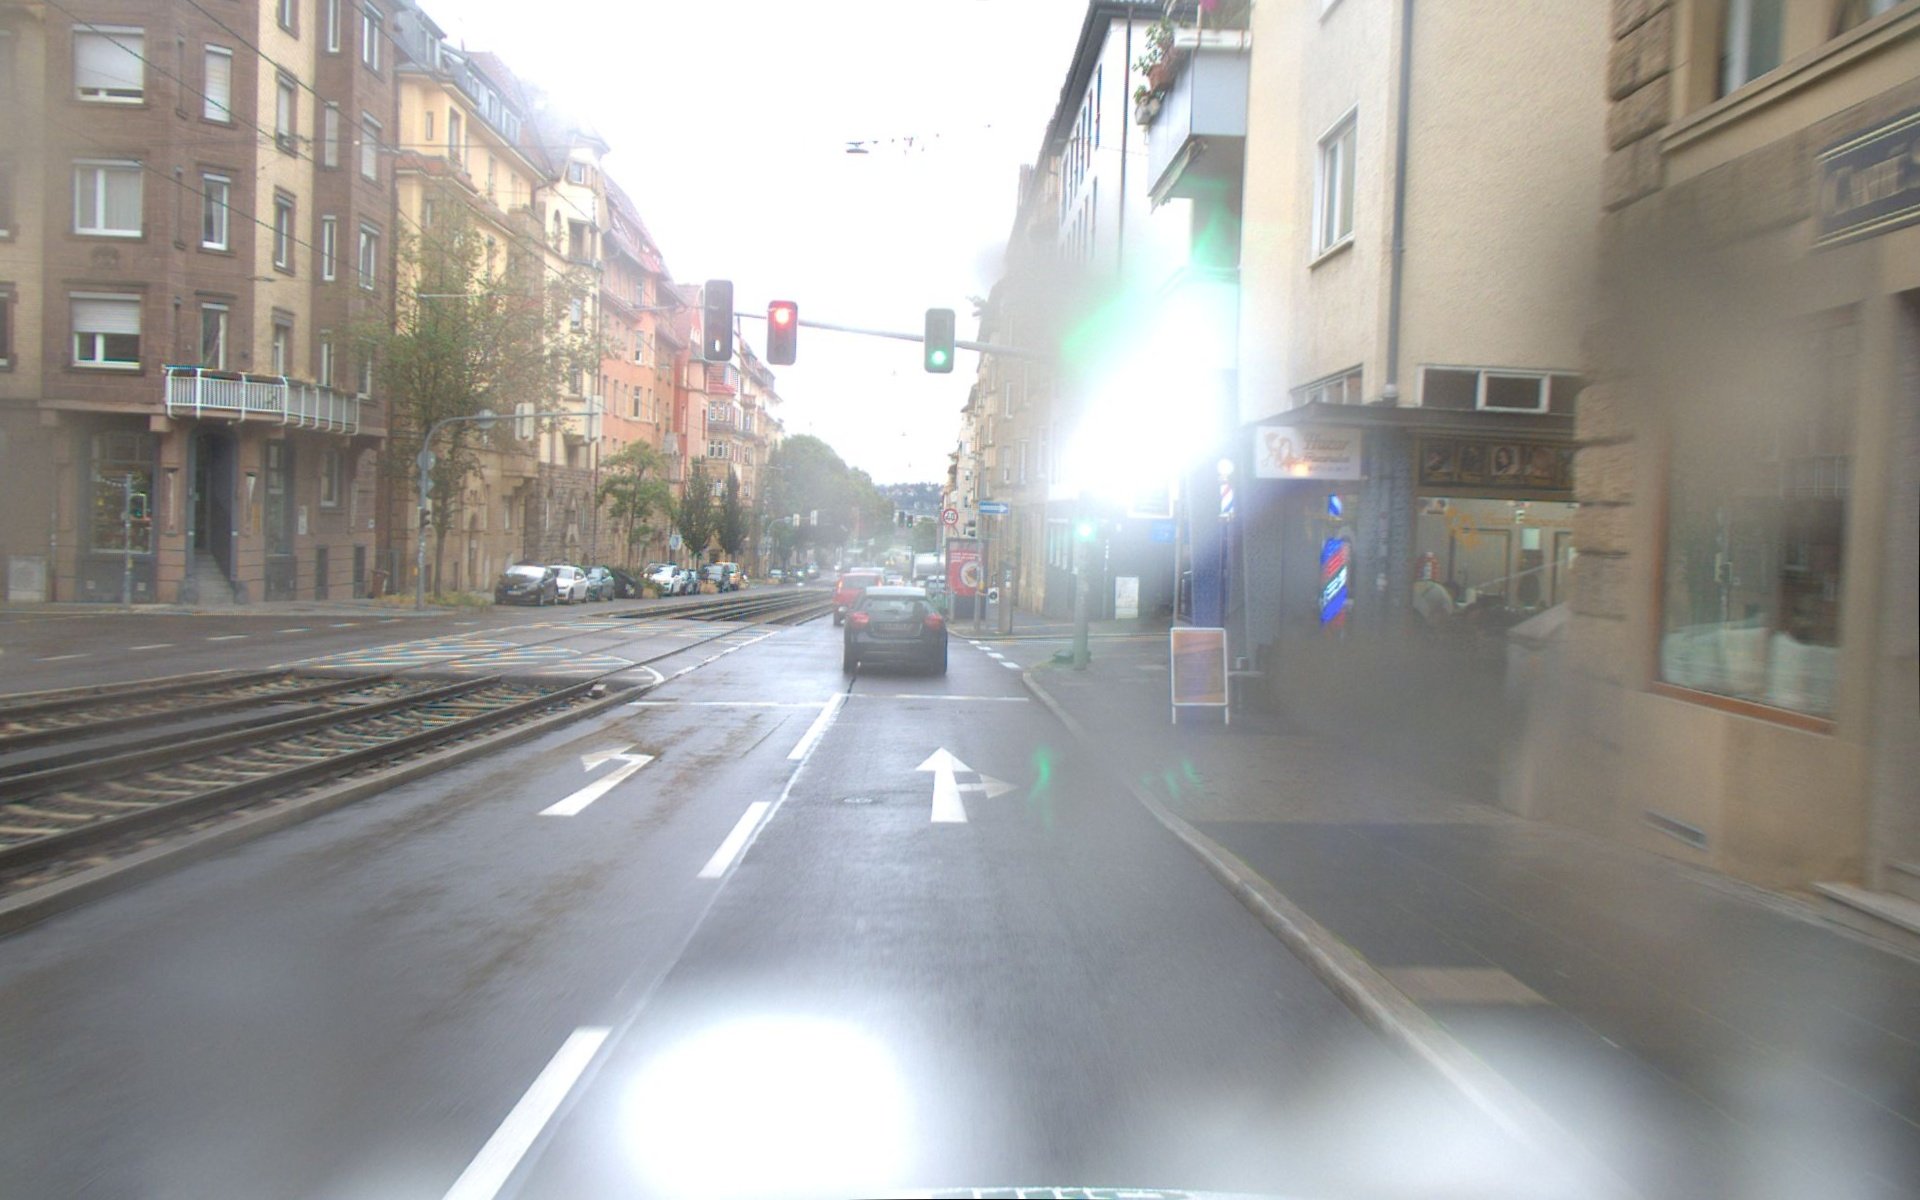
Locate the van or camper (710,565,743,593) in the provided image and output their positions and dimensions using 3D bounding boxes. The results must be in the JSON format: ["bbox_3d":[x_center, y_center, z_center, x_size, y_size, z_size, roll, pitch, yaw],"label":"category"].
[{"bbox_3d":[-16.977,-1.531,120.479,1.954,1.934,4.696,1,0,-3],"label":"van or camper"}]

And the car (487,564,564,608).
[{"bbox_3d":[-15.681,-0.506,59.924,1.729,1.512,4.000,1,0,-1],"label":"car"}]

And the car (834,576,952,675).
[{"bbox_3d":[-1.156,0.406,28.824,1.907,1.592,3.641,1,0,-2],"label":"car"}]

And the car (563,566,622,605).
[{"bbox_3d":[-15.700,-0.639,70.821,1.529,1.462,4.147,0,3,1],"label":"car"}]

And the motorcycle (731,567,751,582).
[{"bbox_3d":[-17.299,-2.007,130.558,1.409,1.154,0.619,2,1,29],"label":"motorcycle"}]

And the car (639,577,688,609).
[{"bbox_3d":[-16.081,-0.386,89.845,1.748,1.617,4.352,1,0,1],"label":"car"}]

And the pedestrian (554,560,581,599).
[{"bbox_3d":[-18.377,-0.968,77.400,0.986,1.784,0.924,2,1,0],"label":"pedestrian"}]

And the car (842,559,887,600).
[{"bbox_3d":[-4.215,-0.941,72.336,1.883,1.684,3.997,1,2,-4],"label":"car"}]

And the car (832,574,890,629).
[{"bbox_3d":[-2.969,0.022,50.106,1.504,1.536,3.999,2,1,-1],"label":"car"}]

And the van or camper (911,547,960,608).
[{"bbox_3d":[-1.064,-0.959,71.674,2.022,2.512,6.118,1,1,-1],"label":"van or camper"}]

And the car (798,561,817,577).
[{"bbox_3d":[-18.691,-3.803,202.304,1.953,1.825,4.000,2,1,-1],"label":"car"}]

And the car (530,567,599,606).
[{"bbox_3d":[-15.511,-0.535,65.004,1.633,1.450,4.263,1,1,0],"label":"car"}]

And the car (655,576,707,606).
[{"bbox_3d":[-16.084,-0.526,95.533,1.952,1.535,4.976,3,1,2],"label":"car"}]

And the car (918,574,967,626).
[{"bbox_3d":[-0.694,-0.023,63.201,1.733,1.839,4.481,2,1,-1],"label":"car"}]

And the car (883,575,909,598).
[{"bbox_3d":[-4.805,-0.993,123.972,1.864,1.621,3.999,1,0,-1],"label":"car"}]
